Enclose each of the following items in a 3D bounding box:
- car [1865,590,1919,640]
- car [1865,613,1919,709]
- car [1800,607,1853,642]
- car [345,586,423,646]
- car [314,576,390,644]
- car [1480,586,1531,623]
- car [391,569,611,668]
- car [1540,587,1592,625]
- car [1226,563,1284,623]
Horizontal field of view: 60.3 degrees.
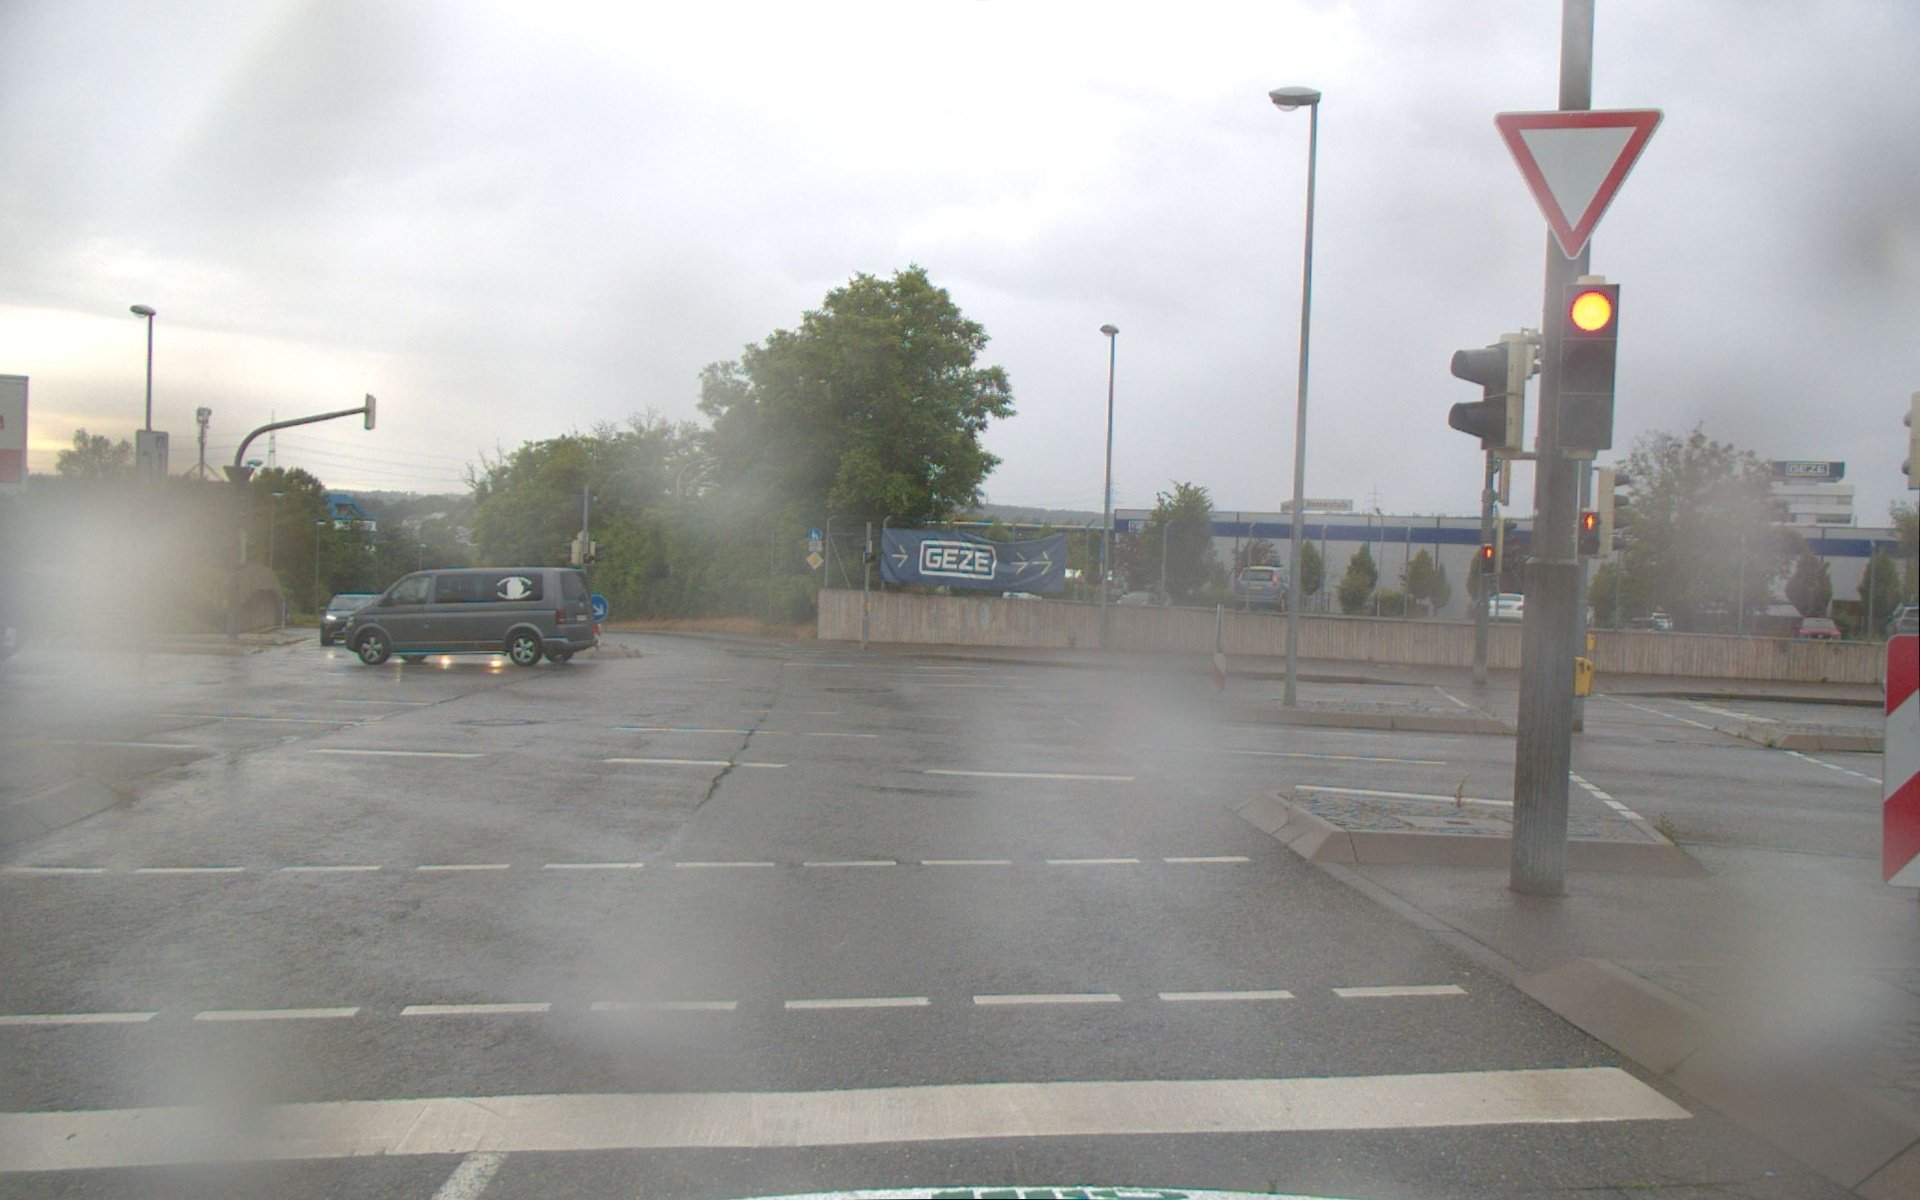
[{"bbox_3d":[34.439,0.553,60.790,1.686,1.745,3.636,2,1,34],"label":"car"},{"bbox_3d":[18.285,1.120,29.013,3.904,1.624,1.958,2,1,20],"label":"car"},{"bbox_3d":[39.474,1.092,75.314,1.736,1.504,3.636,2,1,34],"label":"car"},{"bbox_3d":[-19.967,0.513,57.484,1.958,1.928,3.989,1,1,-11],"label":"car"},{"bbox_3d":[-18.368,0.285,50.127,1.963,1.928,3.979,2,0,-18],"label":"car"},{"bbox_3d":[23.357,0.178,70.695,1.952,1.504,4.001,2,1,19],"label":"car"},{"bbox_3d":[-9.513,0.357,34.467,3.902,1.881,2.002,2,1,8],"label":"car"},{"bbox_3d":[25.649,0.250,70.092,1.952,1.504,4.001,2,1,19],"label":"car"},{"bbox_3d":[10.726,-0.246,59.969,1.951,2.049,4.004,2,0,11],"label":"car"}]
